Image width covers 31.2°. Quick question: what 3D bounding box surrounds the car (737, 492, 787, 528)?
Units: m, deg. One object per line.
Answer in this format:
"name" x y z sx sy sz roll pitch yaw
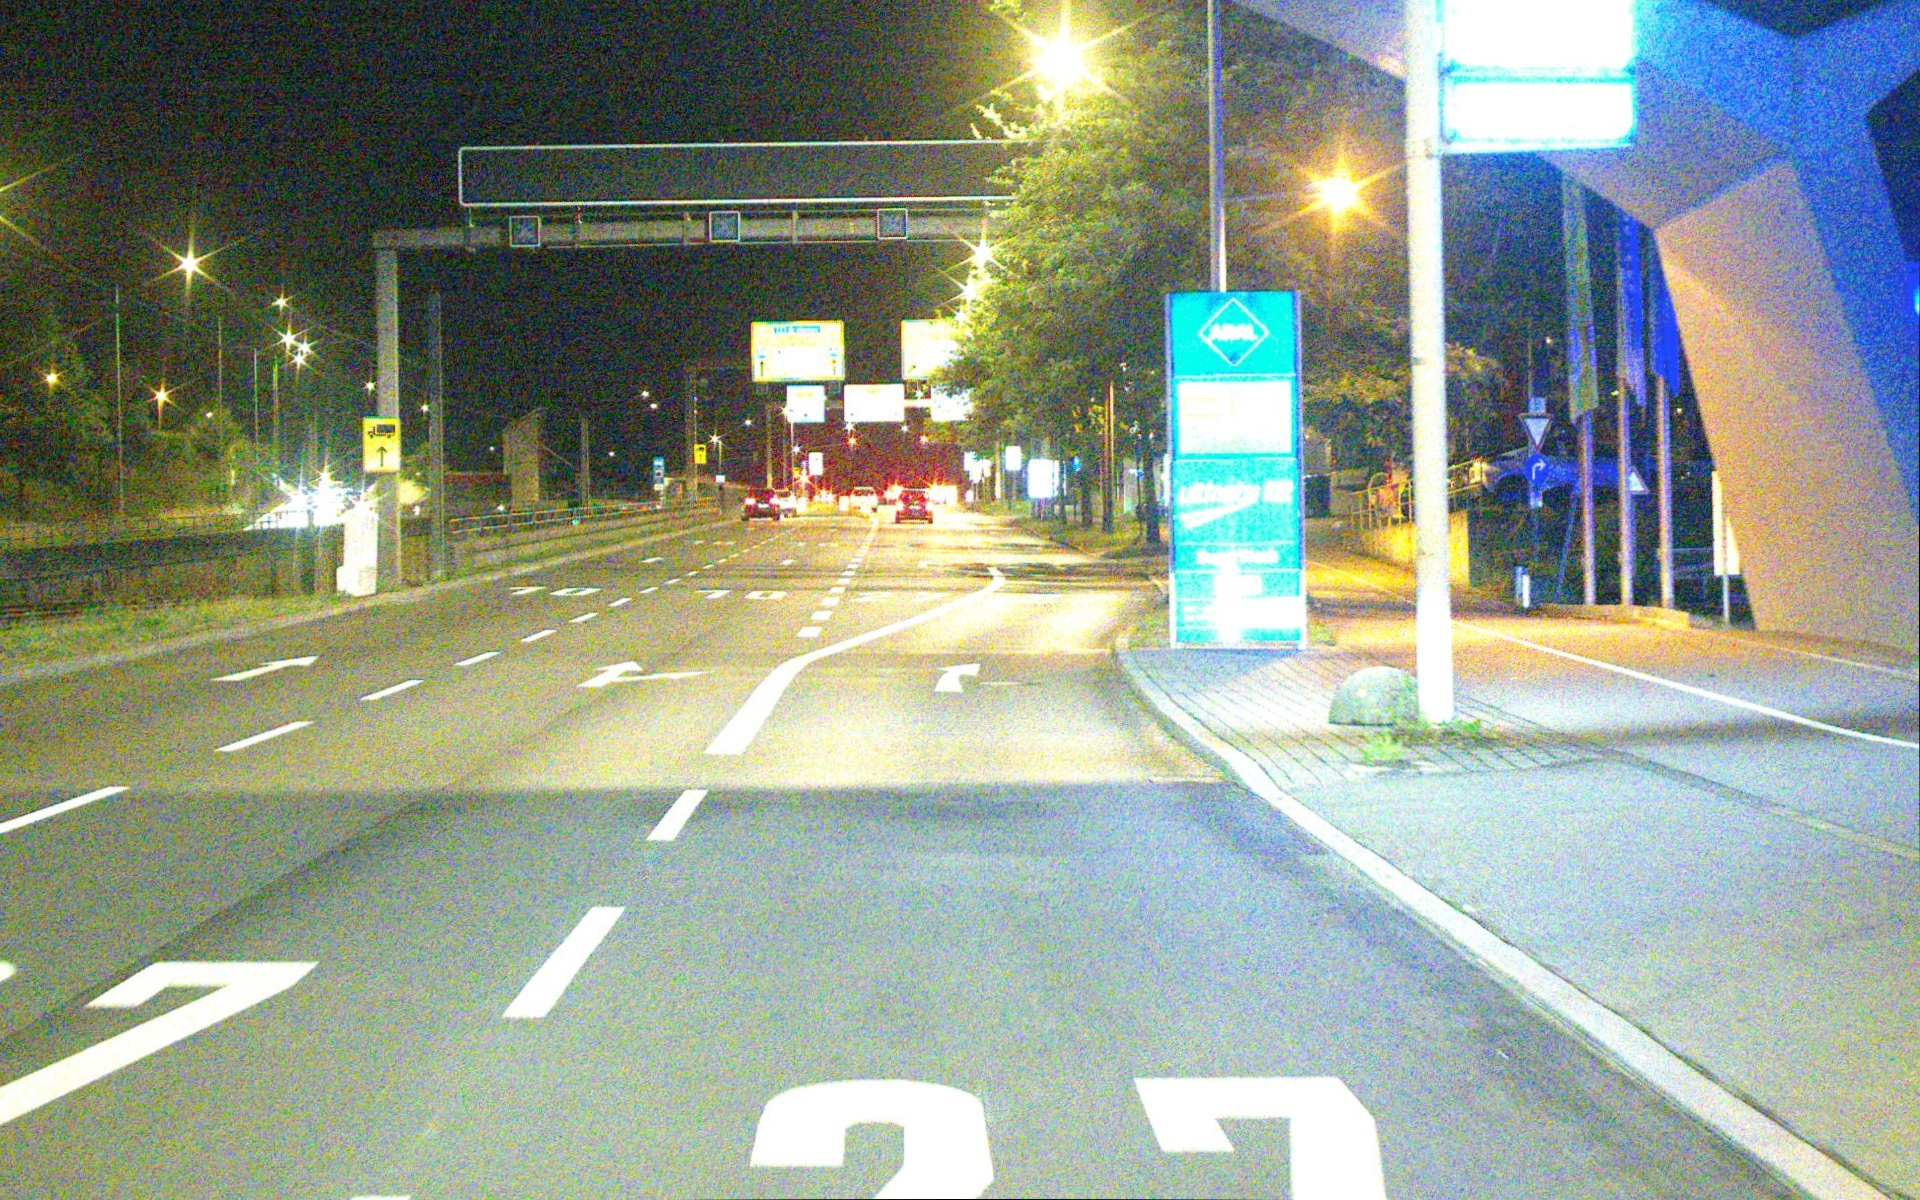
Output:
"car" -9.918 -4.494 172.168 1.967 1.705 4.001 1 0 -11

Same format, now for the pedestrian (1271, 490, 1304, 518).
"pedestrian" 12.089 -3.546 126.808 0.913 1.035 0.770 0 1 43

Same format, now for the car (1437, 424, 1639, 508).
"car" 12.352 -2.862 73.625 3.987 1.566 1.738 -2 0 1

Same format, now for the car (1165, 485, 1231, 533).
"car" 10.339 -3.923 148.904 1.995 1.938 3.997 1 0 16

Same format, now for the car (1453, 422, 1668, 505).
"car" 12.421 -2.819 71.266 4.119 1.517 1.822 -2 0 1

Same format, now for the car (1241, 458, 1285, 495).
"car" 13.763 -5.597 156.060 1.893 1.506 3.635 1 0 6

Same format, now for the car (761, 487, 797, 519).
"car" -10.339 -5.548 196.211 1.782 1.705 4.001 1 0 -6

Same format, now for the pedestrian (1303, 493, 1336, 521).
"pedestrian" 13.262 -3.428 126.789 0.997 1.004 0.772 1 0 -16

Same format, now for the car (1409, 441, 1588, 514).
"car" 12.290 -2.791 78.637 3.724 1.484 1.742 -2 0 -2

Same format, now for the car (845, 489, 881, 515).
"car" -6.077 -6.165 216.531 2.005 1.546 4.295 1 0 1

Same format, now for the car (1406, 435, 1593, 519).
"car" 11.956 -2.718 76.361 3.747 1.582 1.780 -3 0 -2

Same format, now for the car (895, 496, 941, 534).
"car" -1.981 -4.038 163.174 1.968 1.705 4.000 1 0 1
